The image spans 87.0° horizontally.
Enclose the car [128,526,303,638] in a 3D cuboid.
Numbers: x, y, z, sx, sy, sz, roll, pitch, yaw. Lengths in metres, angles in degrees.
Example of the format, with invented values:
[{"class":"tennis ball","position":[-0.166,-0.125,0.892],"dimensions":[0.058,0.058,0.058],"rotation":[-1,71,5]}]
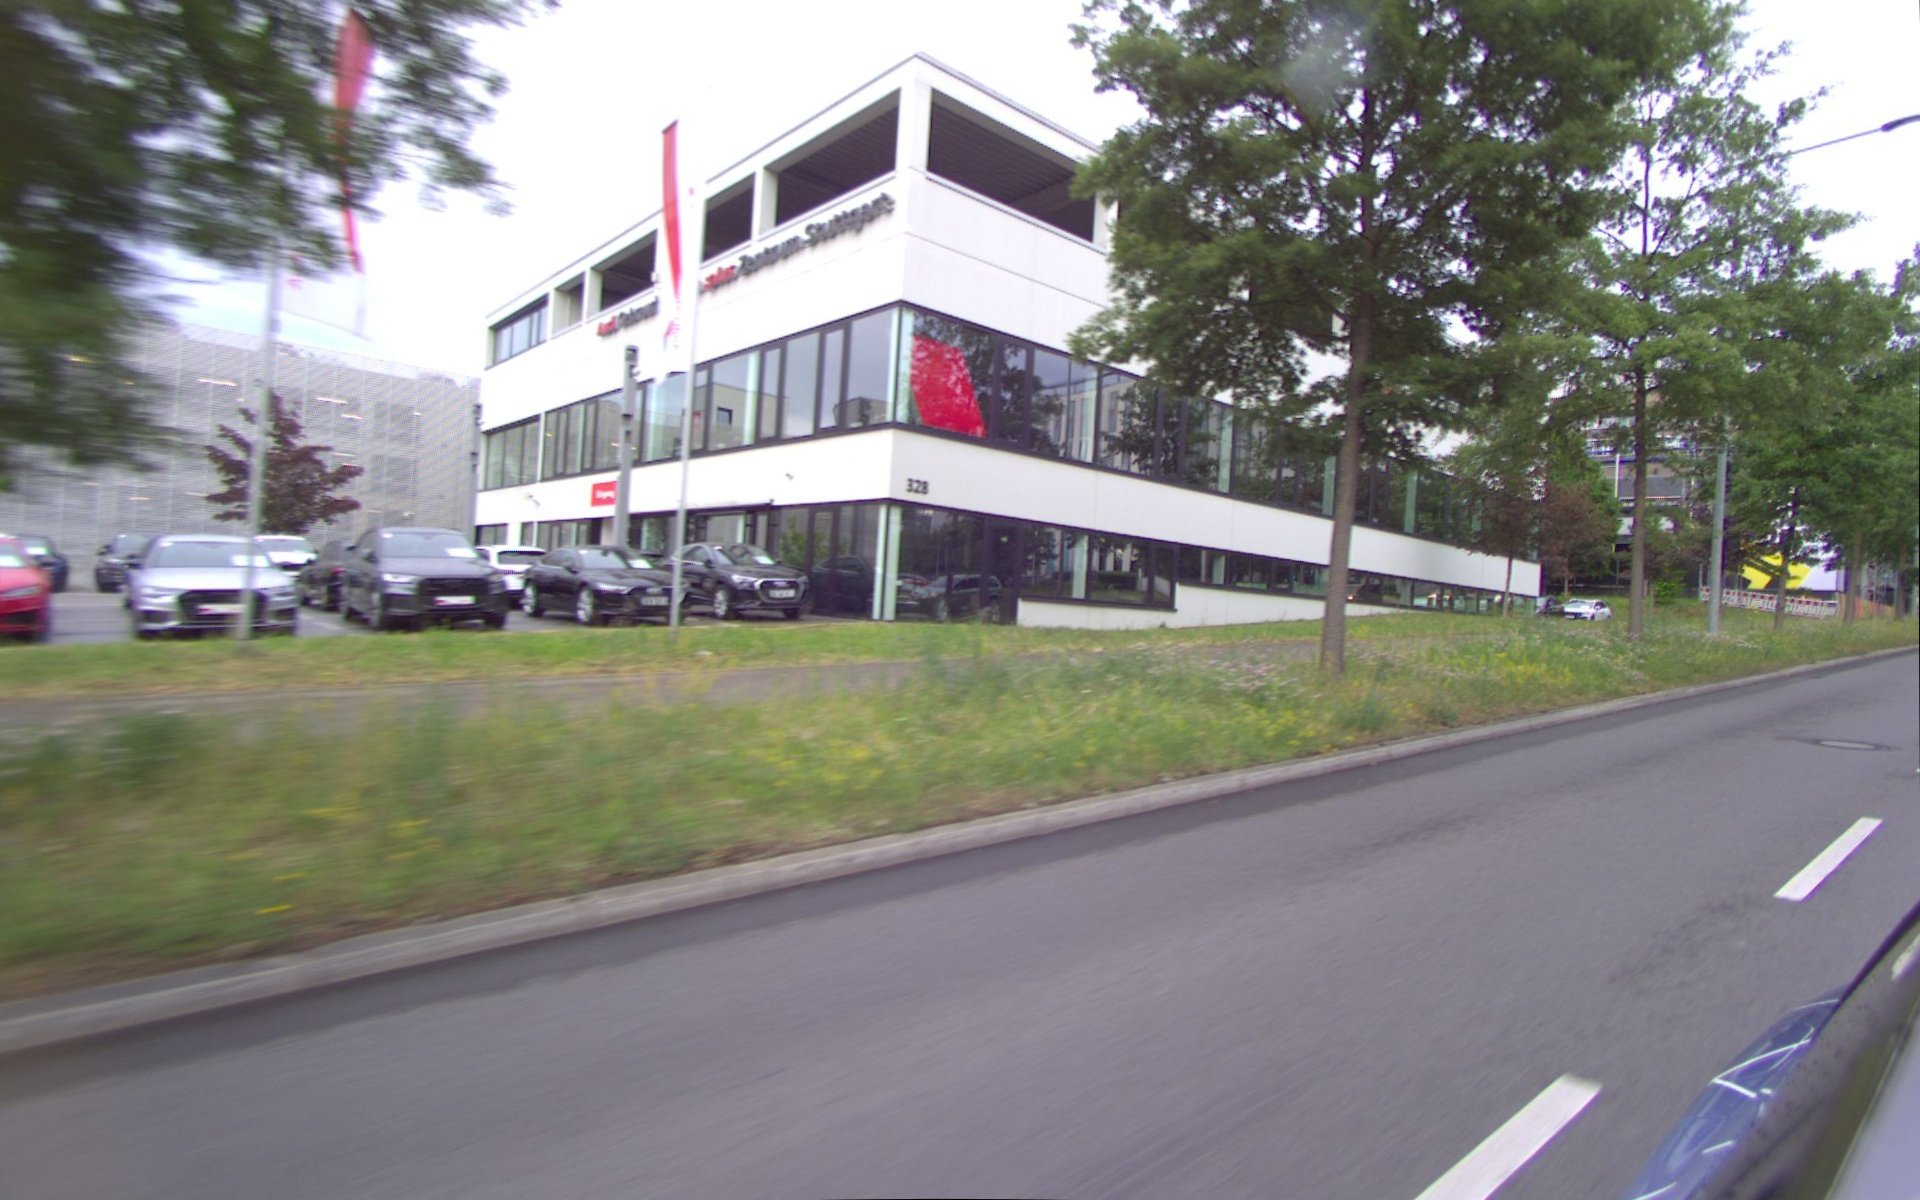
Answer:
[{"class":"car","position":[-11.320,-0.337,15.261],"dimensions":[1.857,1.445,4.407],"rotation":[0,3,-40]}]

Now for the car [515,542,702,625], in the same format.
[{"class":"car","position":[-6.791,-0.382,19.286],"dimensions":[1.806,1.395,4.326],"rotation":[-1,3,-42]}]

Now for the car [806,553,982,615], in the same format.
[{"class":"car","position":[-1.536,-0.405,24.240],"dimensions":[3.855,1.355,1.901],"rotation":[-1,2,-41]}]

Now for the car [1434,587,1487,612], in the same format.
[{"class":"car","position":[30.845,-0.041,62.317],"dimensions":[3.579,1.503,1.700],"rotation":[-1,0,-41]}]

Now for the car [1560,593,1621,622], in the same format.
[{"class":"car","position":[35.202,0.396,56.433],"dimensions":[4.384,1.503,1.700],"rotation":[-1,0,-41]}]

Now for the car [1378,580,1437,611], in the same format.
[{"class":"car","position":[25.395,-0.242,57.359],"dimensions":[3.579,1.697,1.700],"rotation":[-1,-1,-41]}]

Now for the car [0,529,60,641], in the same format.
[{"class":"car","position":[-13.493,-0.291,13.668],"dimensions":[1.897,1.364,4.407],"rotation":[-1,4,-41]}]

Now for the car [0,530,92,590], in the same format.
[{"class":"car","position":[-24.433,-1.054,27.028],"dimensions":[1.796,1.486,4.283],"rotation":[0,2,-42]}]

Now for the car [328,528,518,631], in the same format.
[{"class":"car","position":[-9.257,-0.408,17.259],"dimensions":[2.004,1.519,4.407],"rotation":[0,3,-40]}]

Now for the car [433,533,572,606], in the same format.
[{"class":"car","position":[-10.931,-0.743,24.033],"dimensions":[1.796,1.570,4.283],"rotation":[0,2,-42]}]

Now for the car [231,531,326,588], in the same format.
[{"class":"car","position":[-20.670,-1.207,30.615],"dimensions":[1.796,1.613,4.283],"rotation":[0,2,-42]}]

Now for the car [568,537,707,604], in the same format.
[{"class":"car","position":[-8.321,-0.763,25.889],"dimensions":[1.796,1.570,4.283],"rotation":[0,2,-42]}]

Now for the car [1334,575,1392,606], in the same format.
[{"class":"car","position":[23.713,-0.583,59.544],"dimensions":[3.460,1.696,1.701],"rotation":[-1,4,-41]}]

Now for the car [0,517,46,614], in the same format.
[{"class":"car","position":[-17.296,-0.623,17.799],"dimensions":[1.796,1.570,4.283],"rotation":[0,2,-42]}]

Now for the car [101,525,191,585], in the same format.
[{"class":"car","position":[-23.564,-1.281,29.260],"dimensions":[1.796,1.613,4.283],"rotation":[0,2,-42]}]

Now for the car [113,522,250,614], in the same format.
[{"class":"car","position":[-15.152,-0.626,19.607],"dimensions":[1.796,1.570,4.283],"rotation":[0,2,-42]}]

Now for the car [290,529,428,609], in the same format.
[{"class":"car","position":[-13.176,-0.692,22.065],"dimensions":[1.796,1.570,4.283],"rotation":[0,2,-42]}]

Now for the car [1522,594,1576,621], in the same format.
[{"class":"car","position":[34.272,0.401,58.877],"dimensions":[3.579,1.503,1.700],"rotation":[-1,0,-41]}]

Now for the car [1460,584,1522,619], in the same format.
[{"class":"car","position":[28.221,0.065,53.776],"dimensions":[3.579,1.696,1.701],"rotation":[-1,4,-41]}]

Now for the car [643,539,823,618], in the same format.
[{"class":"car","position":[-4.924,-0.497,21.521],"dimensions":[1.897,1.500,4.406],"rotation":[0,2,-41]}]

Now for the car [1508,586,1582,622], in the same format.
[{"class":"car","position":[30.049,0.158,51.944],"dimensions":[4.510,1.696,1.907],"rotation":[-1,3,-41]}]
